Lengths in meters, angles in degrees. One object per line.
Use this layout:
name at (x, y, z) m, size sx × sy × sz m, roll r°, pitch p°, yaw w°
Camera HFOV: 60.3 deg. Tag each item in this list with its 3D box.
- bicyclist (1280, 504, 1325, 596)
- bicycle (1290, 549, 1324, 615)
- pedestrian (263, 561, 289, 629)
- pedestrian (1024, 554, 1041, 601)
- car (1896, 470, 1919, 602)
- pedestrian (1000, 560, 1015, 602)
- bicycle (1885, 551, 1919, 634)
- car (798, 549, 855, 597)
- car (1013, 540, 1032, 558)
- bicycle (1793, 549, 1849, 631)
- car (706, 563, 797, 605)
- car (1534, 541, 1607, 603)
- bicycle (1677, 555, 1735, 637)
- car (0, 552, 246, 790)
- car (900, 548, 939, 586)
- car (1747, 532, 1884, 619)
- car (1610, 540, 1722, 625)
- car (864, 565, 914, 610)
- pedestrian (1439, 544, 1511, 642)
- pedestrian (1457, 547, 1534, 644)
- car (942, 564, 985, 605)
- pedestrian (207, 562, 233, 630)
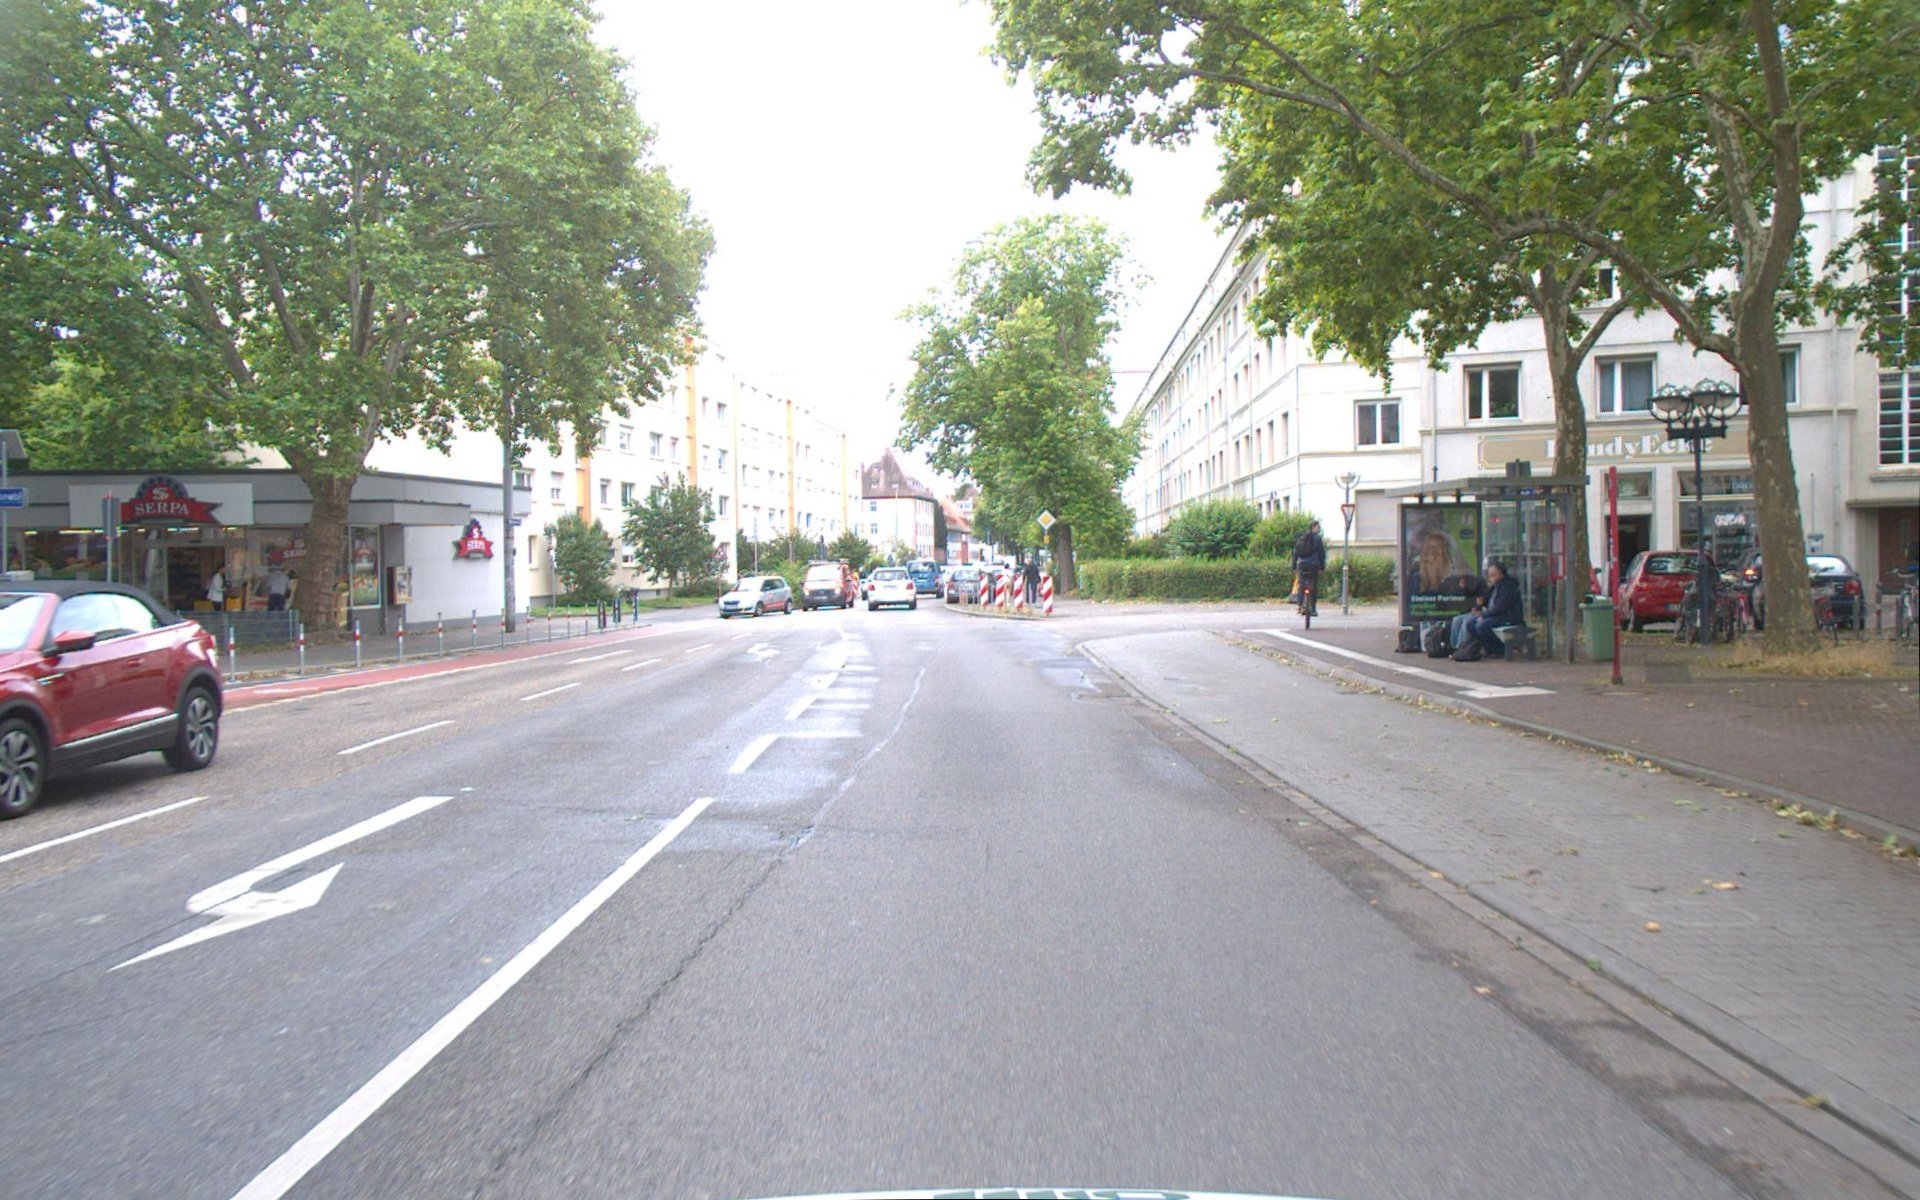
bicyclist at (6.800, -0.982, 32.813) m, size 0.744 × 1.789 × 0.821 m, roll -1°, pitch 1°, yaw 18°
bicycle at (6.888, -0.370, 32.768) m, size 0.408 × 1.264 × 1.928 m, roll -1°, pitch 1°, yaw 19°
pedestrian at (-17.504, -0.131, 42.330) m, size 0.507 × 1.709 × 0.508 m, roll -2°, pitch 1°, yaw -18°
pedestrian at (2.641, -0.817, 60.579) m, size 0.539 × 1.714 × 0.570 m, roll -1°, pitch 1°, yaw -2°
car at (17.616, -1.126, 28.518) m, size 2.130 × 2.238 × 3.999 m, roll -1°, pitch 2°, yaw 23°
pedestrian at (1.739, -0.706, 60.487) m, size 0.505 × 1.521 × 0.511 m, roll -1°, pitch 1°, yaw -2°
bicycle at (14.589, -0.136, 25.228) m, size 0.610 × 1.188 × 2.332 m, roll -1°, pitch 1°, yaw 24°
car at (-5.673, -1.187, 70.615) m, size 1.730 × 1.945 × 4.003 m, roll -1°, pitch 1°, yaw 5°
car at (7.582, -6.160, 200.913) m, size 1.953 × 2.048 × 3.999 m, roll -1°, pitch 1°, yaw -2°
bicycle at (13.176, -0.171, 25.340) m, size 0.610 × 1.188 × 2.332 m, roll -1°, pitch 1°, yaw 24°
car at (-8.010, -0.625, 63.809) m, size 1.731 × 1.512 × 4.000 m, roll -1°, pitch 2°, yaw 22°
car at (15.273, -0.714, 41.500) m, size 1.483 × 1.453 × 4.003 m, roll -1°, pitch 1°, yaw 17°
bicycle at (11.609, -0.086, 25.750) m, size 0.762 × 1.188 × 2.332 m, roll -1°, pitch 1°, yaw 24°
car at (-6.937, 0.419, 11.855) m, size 1.815 × 1.478 × 4.167 m, roll -1°, pitch 2°, yaw -1°
car at (-2.151, -1.743, 86.759) m, size 1.953 × 1.880 × 3.999 m, roll -1°, pitch 1°, yaw -2°
car at (15.362, -0.466, 29.881) m, size 1.483 × 1.453 × 4.003 m, roll -1°, pitch 1°, yaw 17°
car at (13.092, -0.358, 30.842) m, size 1.483 × 1.453 × 4.003 m, roll -1°, pitch 1°, yaw 17°
car at (-2.740, -0.504, 64.544) m, size 1.778 × 1.619 × 4.000 m, roll -1°, pitch 2°, yaw -1°
pedestrian at (7.573, -0.108, 24.337) m, size 0.801 × 1.396 × 0.762 m, roll -1°, pitch 1°, yaw -1°
pedestrian at (7.591, -0.067, 23.471) m, size 0.835 × 1.337 × 0.762 m, roll -1°, pitch 1°, yaw -1°
car at (0.122, -0.694, 71.275) m, size 1.778 × 1.619 × 4.000 m, roll -1°, pitch 2°, yaw -1°
pedestrian at (-18.702, -0.103, 41.811) m, size 0.501 × 1.709 × 0.515 m, roll -2°, pitch 1°, yaw -17°
